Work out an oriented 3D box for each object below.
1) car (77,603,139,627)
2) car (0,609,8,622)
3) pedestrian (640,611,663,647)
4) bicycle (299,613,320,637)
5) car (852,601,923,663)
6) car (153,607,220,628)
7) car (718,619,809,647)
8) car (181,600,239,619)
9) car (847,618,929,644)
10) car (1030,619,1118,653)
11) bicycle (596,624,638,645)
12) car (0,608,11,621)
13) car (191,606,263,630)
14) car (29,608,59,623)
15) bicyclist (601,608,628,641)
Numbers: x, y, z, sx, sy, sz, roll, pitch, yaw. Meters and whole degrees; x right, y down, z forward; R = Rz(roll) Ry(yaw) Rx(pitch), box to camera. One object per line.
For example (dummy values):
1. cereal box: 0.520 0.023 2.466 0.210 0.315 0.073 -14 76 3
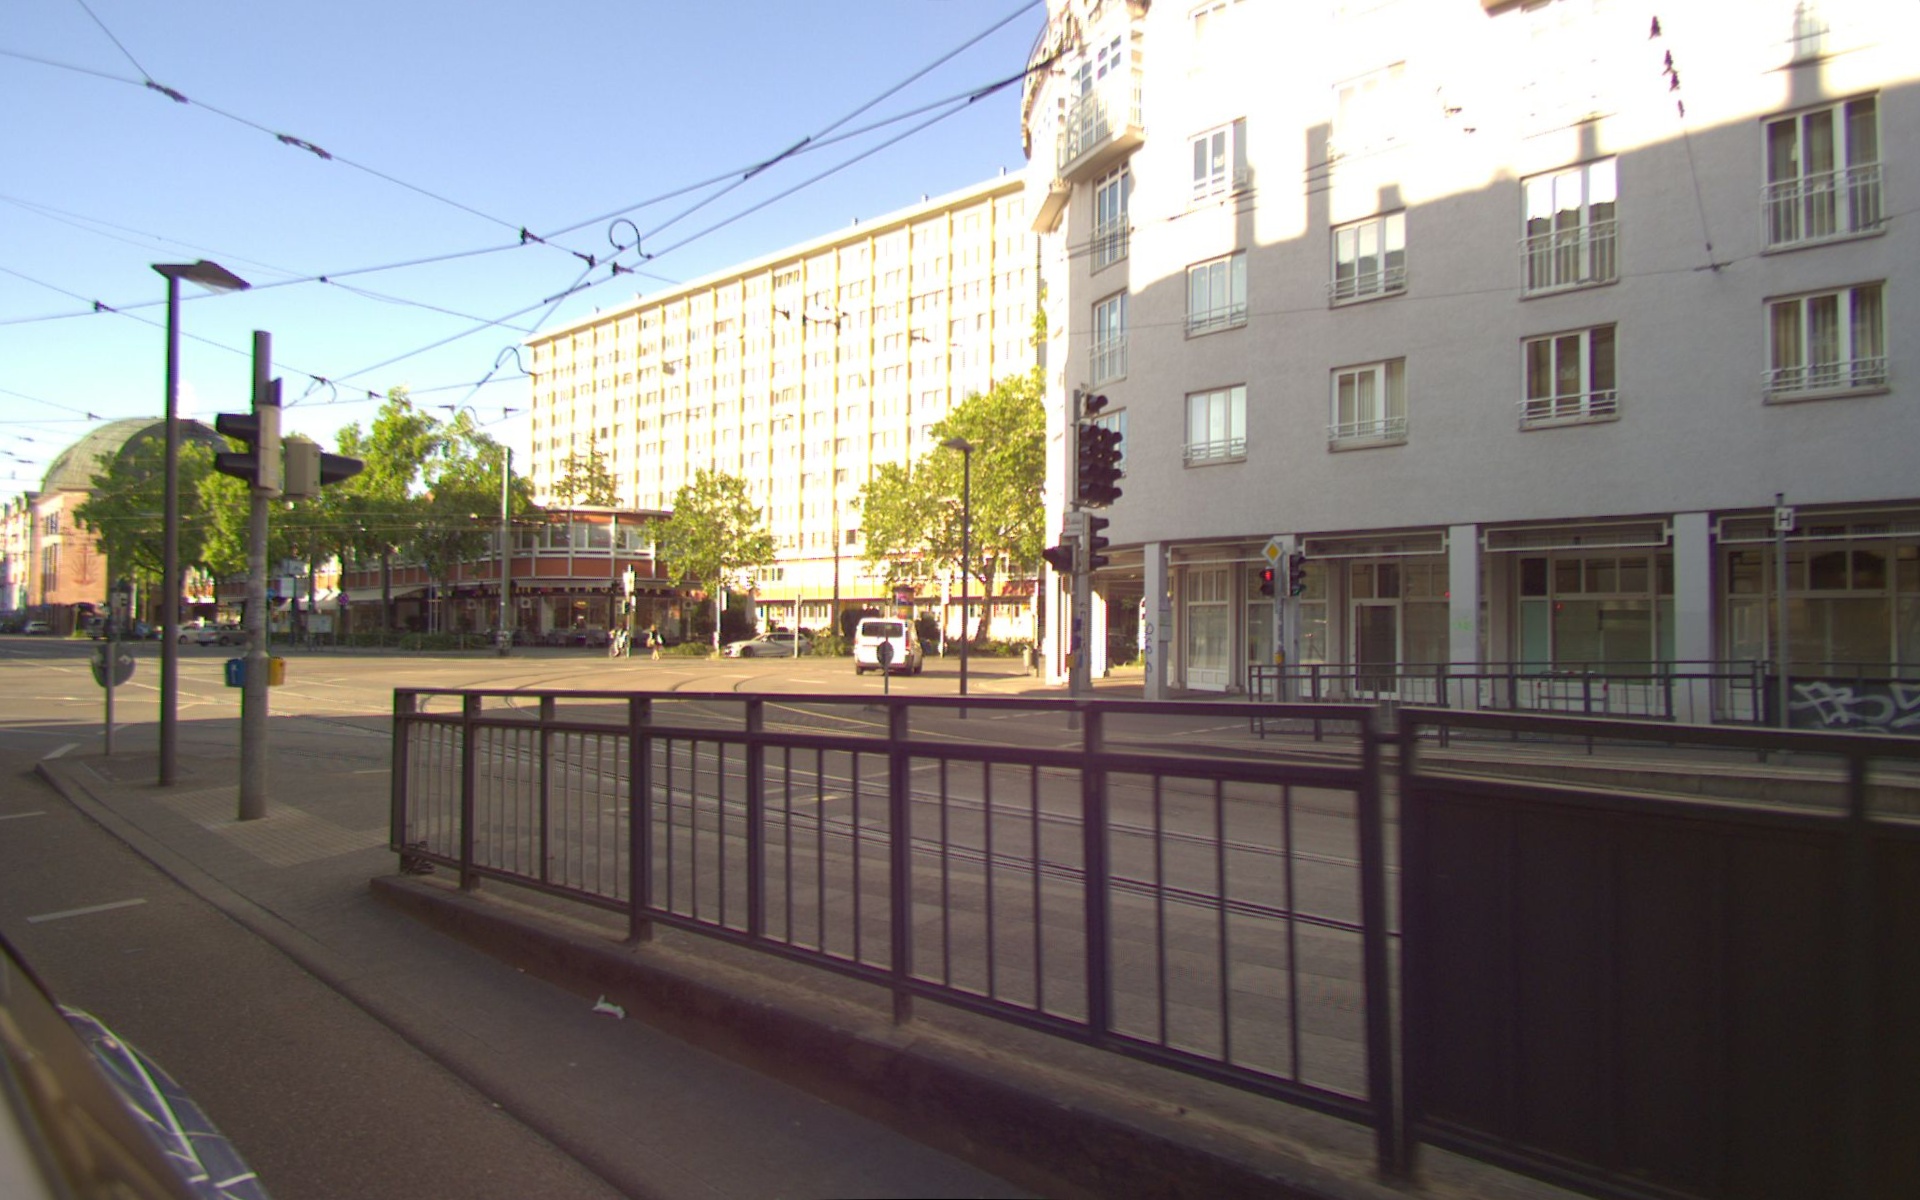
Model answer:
1. car: -75.492 1.291 89.740 1.888 1.979 3.993 -1 1 6
2. car: -129.771 2.068 136.169 3.996 1.615 1.940 0 1 39
3. pedestrian: -14.478 1.370 47.489 0.857 1.695 0.697 1 -3 -40
4. bicycle: -34.796 1.327 54.123 0.574 1.244 1.858 -1 1 -43
5. car: -2.386 1.094 34.586 1.972 1.851 5.346 3 -2 0
6. car: -60.063 1.337 78.688 1.778 1.486 3.988 0 1 9
7. car: -10.536 1.747 54.241 4.380 1.432 1.896 1 -1 -32
8. car: -84.629 1.056 114.283 1.998 2.029 4.922 0 -1 39
9. car: -4.159 1.774 58.691 4.380 1.432 1.896 1 -1 -32
10. car: 5.841 1.784 51.602 4.439 1.632 2.003 0 -1 -40
11. bicycle: -15.551 1.542 45.831 2.265 0.934 0.831 -1 -1 44
12. car: -125.193 1.945 131.705 3.996 1.615 1.940 0 1 39
13. car: -51.878 1.221 71.712 1.778 1.565 3.988 0 1 9
14. car: -103.931 1.705 114.801 3.996 1.615 1.887 0 1 39
15. bicyclist: -15.679 1.096 45.957 0.896 1.478 0.831 -1 -2 44
